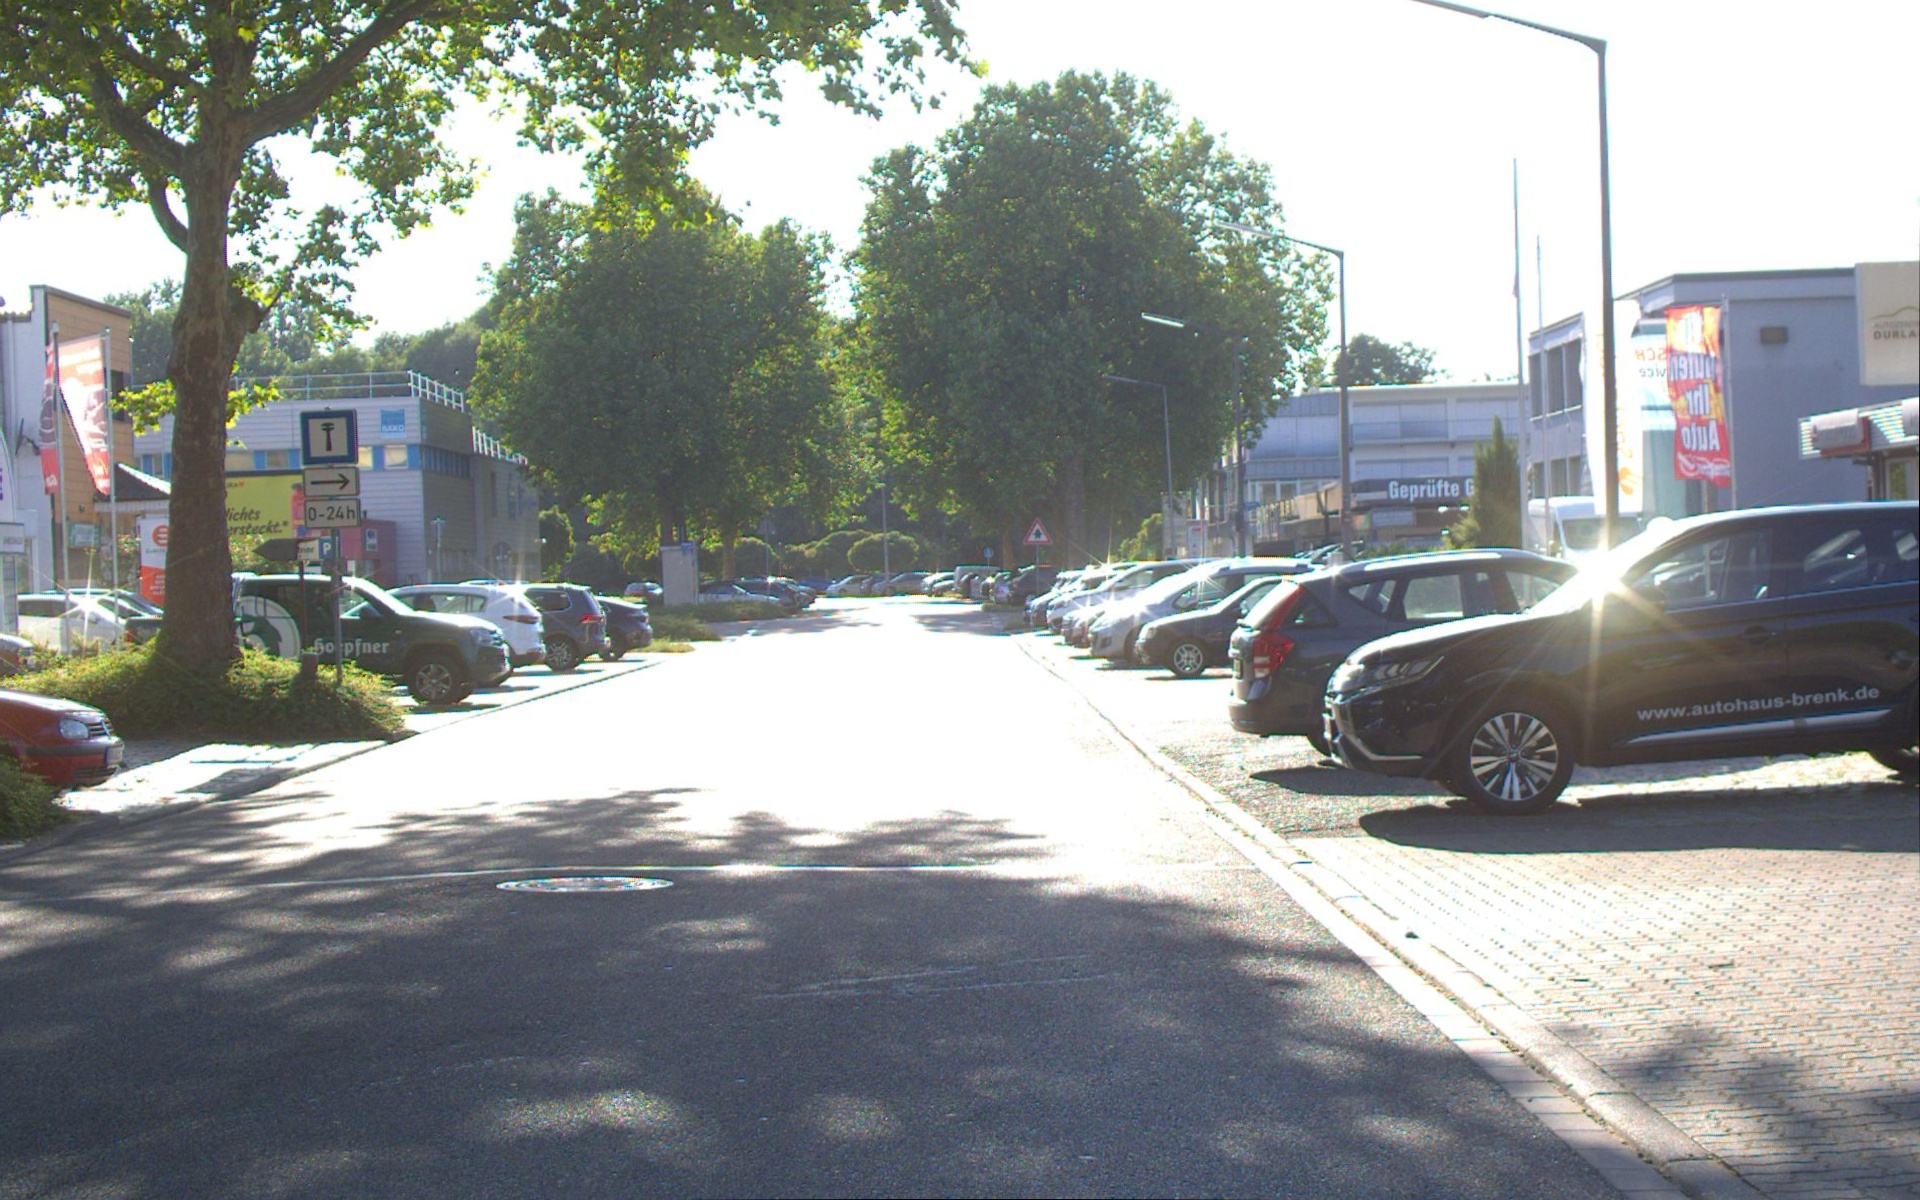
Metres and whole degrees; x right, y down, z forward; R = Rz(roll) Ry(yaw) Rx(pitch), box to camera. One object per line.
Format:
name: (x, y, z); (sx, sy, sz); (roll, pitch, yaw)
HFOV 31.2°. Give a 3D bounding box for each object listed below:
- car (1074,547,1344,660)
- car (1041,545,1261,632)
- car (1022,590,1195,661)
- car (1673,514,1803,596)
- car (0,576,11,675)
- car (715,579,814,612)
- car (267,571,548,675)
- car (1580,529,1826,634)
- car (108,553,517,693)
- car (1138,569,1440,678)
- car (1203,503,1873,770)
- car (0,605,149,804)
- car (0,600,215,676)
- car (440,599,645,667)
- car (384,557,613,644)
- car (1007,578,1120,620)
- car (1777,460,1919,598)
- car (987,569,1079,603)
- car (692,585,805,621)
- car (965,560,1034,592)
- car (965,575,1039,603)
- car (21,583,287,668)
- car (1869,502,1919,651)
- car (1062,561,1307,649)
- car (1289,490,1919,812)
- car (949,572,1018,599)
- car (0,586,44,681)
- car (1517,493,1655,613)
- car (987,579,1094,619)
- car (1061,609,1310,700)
car: (3.915, 0.055, 54.534); (3.986, 1.582, 1.868); (-3, 0, -4)
car: (4.195, -0.248, 76.107); (4.554, 1.592, 2.202); (-4, 0, -3)
car: (4.059, 0.703, 94.552); (4.523, 1.667, 1.753); (-3, 0, -3)
car: (17.573, -0.992, 77.828); (1.993, 1.793, 4.000); (0, 0, 0)
car: (-17.619, 0.398, 54.446); (4.661, 1.587, 1.929); (0, 0, -2)
car: (-9.079, -0.197, 159.950); (4.415, 1.512, 2.000); (0, 0, 1)
car: (-8.956, 0.379, 56.046); (4.302, 1.650, 2.202); (0, 0, -3)
car: (14.043, -0.344, 65.128); (4.144, 1.765, 2.000); (-3, 0, 0)
car: (-8.914, 0.316, 47.681); (5.259, 1.892, 2.202); (0, 0, -1)
car: (4.486, 0.320, 47.319); (3.987, 1.292, 1.784); (-3, 0, 3)
car: (4.267, 0.272, 25.936); (4.600, 1.608, 2.000); (-4, 0, -1)
car: (-8.523, 0.752, 26.016); (4.296, 1.441, 2.000); (0, 0, -1)
car: (-17.740, 0.786, 71.701); (3.987, 1.550, 2.000); (0, 0, 0)
car: (-9.094, 0.713, 75.248); (4.313, 1.455, 2.202); (0, 0, -3)
car: (-8.913, 0.019, 66.649); (4.230, 1.650, 2.202); (0, 0, -3)
car: (3.721, -0.042, 124.239); (3.987, 1.411, 2.000); (-2, 0, 0)
car: (13.937, -1.050, 49.262); (3.933, 1.892, 2.202); (-1, 3, 0)
car: (3.219, -0.614, 152.467); (3.987, 1.411, 1.827); (-2, 0, 0)
car: (-8.415, 0.114, 136.650); (4.414, 1.398, 2.000); (0, 0, -5)
car: (2.307, -1.401, 202.301); (3.987, 1.771, 1.827); (-2, 0, 0)
car: (2.273, -0.605, 187.065); (3.987, 1.411, 1.827); (-2, 0, 0)
car: (-16.238, 0.514, 69.420); (4.943, 1.683, 2.000); (0, 0, -3)
car: (14.383, -0.293, 44.773); (4.495, 1.892, 2.202); (0, 0, -1)
car: (4.241, 0.094, 65.557); (4.437, 1.431, 2.135); (-3, 0, -1)
car: (4.367, 0.253, 20.380); (4.601, 1.574, 2.000); (-4, 0, 2)
car: (1.367, -0.845, 199.840); (3.987, 1.411, 1.827); (-2, 0, 0)
car: (-17.669, 0.540, 57.082); (4.463, 1.548, 1.836); (0, 0, -2)
car: (14.170, -1.010, 78.149); (1.993, 2.616, 6.137); (0, 0, 0)
car: (3.059, -0.018, 131.582); (3.987, 1.411, 1.827); (-2, 0, 0)
car: (4.028, 0.977, 61.817); (4.241, 1.599, 1.746); (0, 0, -6)
